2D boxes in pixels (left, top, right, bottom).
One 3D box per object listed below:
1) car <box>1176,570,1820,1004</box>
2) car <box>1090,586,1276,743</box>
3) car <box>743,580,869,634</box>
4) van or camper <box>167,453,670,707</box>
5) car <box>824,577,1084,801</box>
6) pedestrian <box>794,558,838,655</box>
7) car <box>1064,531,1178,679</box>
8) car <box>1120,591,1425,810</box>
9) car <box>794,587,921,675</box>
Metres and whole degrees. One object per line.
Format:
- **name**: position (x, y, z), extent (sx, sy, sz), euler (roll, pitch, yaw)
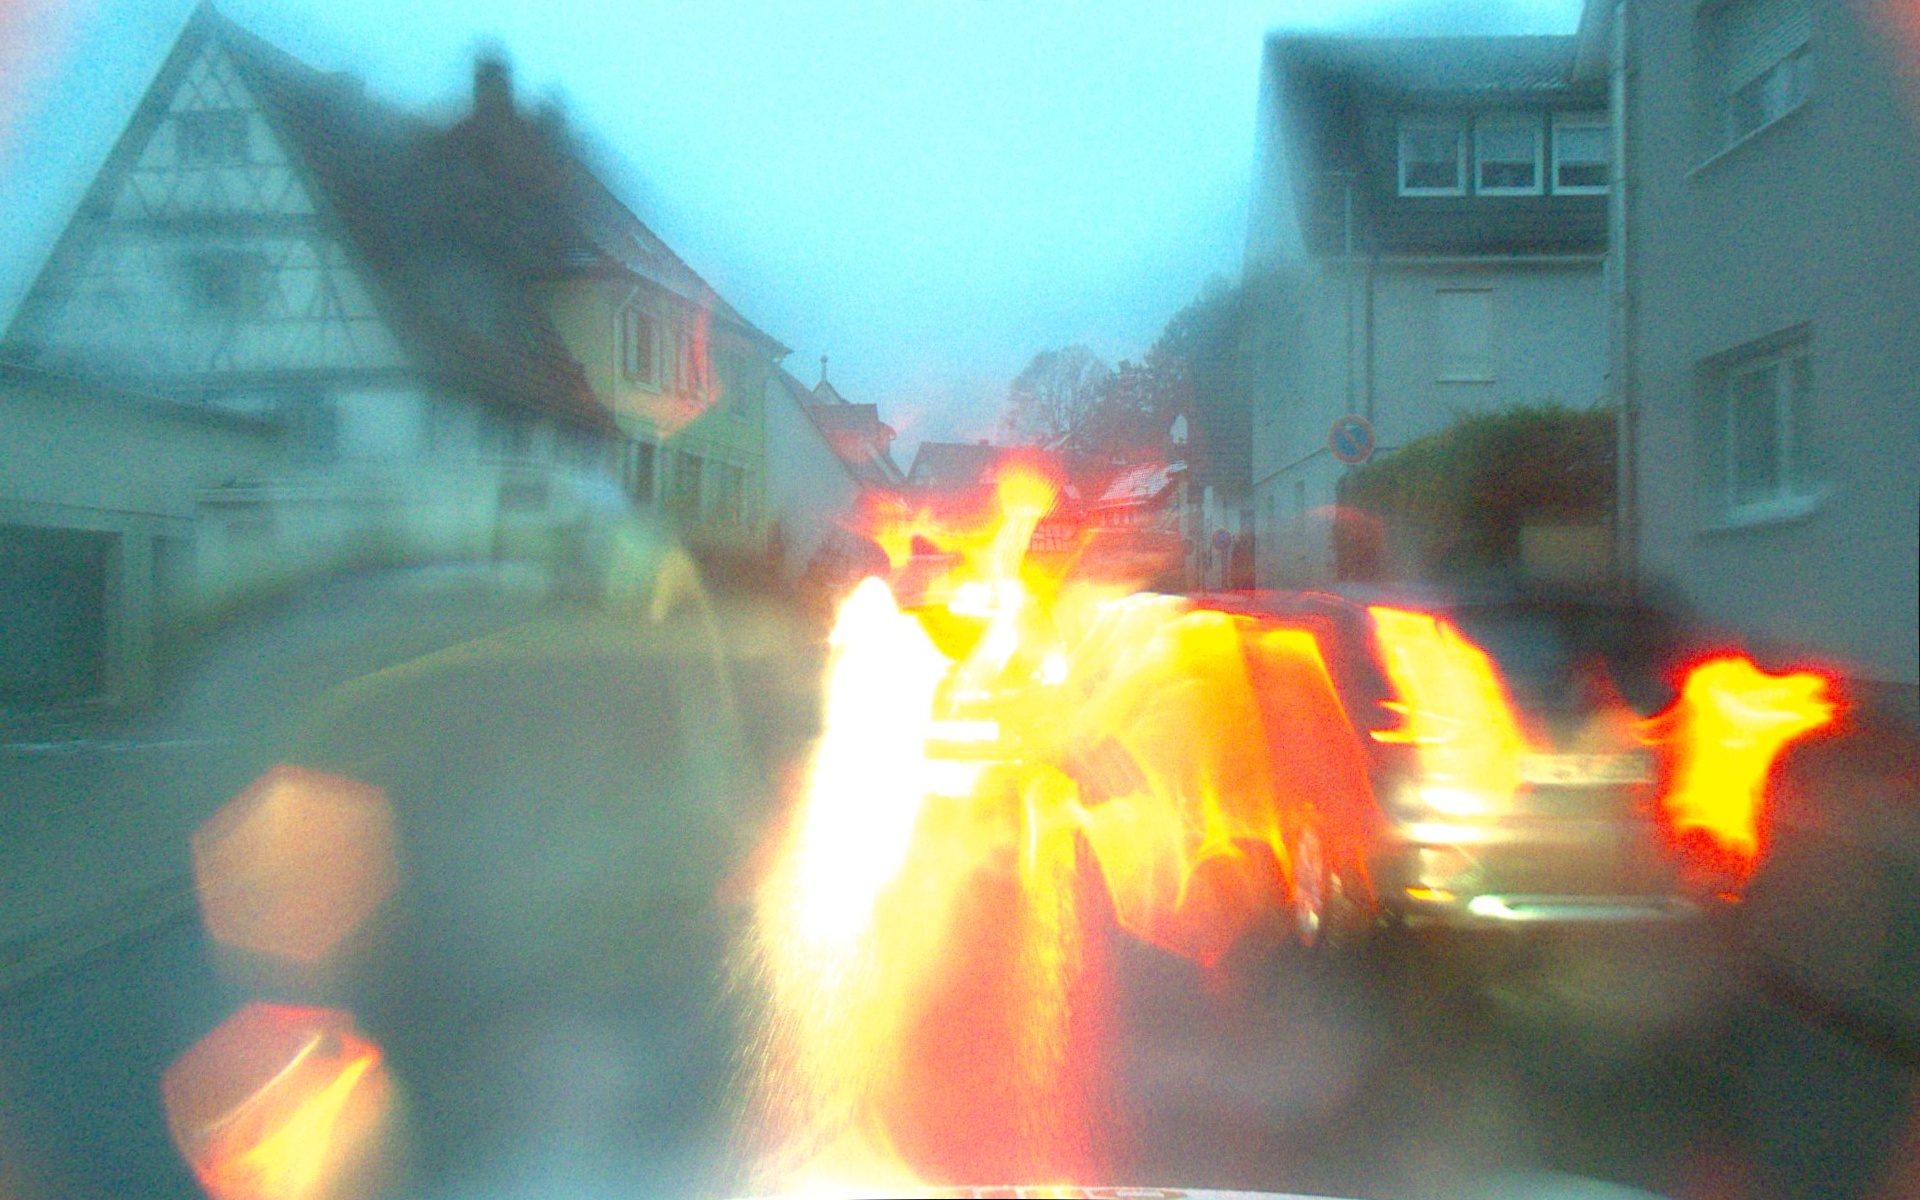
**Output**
- **car**: position (2.204, 0.658, 7.966), extent (1.761, 1.561, 4.000), euler (0, 0, -1)
- **car**: position (2.332, 0.615, 18.113), extent (1.689, 1.534, 3.753), euler (0, 0, 3)
- **car**: position (-4.564, 0.201, 49.358), extent (3.433, 1.533, 1.693), euler (1, 0, 7)
- **van or camper**: position (-7.255, -0.243, 22.586), extent (5.932, 3.006, 2.408), euler (-3, 0, 5)
- **car**: position (-0.054, 0.602, 13.414), extent (1.759, 1.502, 4.000), euler (2, 0, -1)
- **pedestrian**: position (-3.102, 0.134, 35.629), extent (0.855, 2.049, 0.795), euler (0, 0, 0)
- **car**: position (2.791, 0.070, 29.334), extent (1.776, 2.455, 3.752), euler (0, 0, 2)
- **car**: position (2.238, 0.649, 12.752), extent (1.645, 1.419, 3.751), euler (0, 0, 0)
- **car**: position (-1.736, 0.488, 29.378), extent (1.829, 1.426, 4.367), euler (0, 0, 2)
